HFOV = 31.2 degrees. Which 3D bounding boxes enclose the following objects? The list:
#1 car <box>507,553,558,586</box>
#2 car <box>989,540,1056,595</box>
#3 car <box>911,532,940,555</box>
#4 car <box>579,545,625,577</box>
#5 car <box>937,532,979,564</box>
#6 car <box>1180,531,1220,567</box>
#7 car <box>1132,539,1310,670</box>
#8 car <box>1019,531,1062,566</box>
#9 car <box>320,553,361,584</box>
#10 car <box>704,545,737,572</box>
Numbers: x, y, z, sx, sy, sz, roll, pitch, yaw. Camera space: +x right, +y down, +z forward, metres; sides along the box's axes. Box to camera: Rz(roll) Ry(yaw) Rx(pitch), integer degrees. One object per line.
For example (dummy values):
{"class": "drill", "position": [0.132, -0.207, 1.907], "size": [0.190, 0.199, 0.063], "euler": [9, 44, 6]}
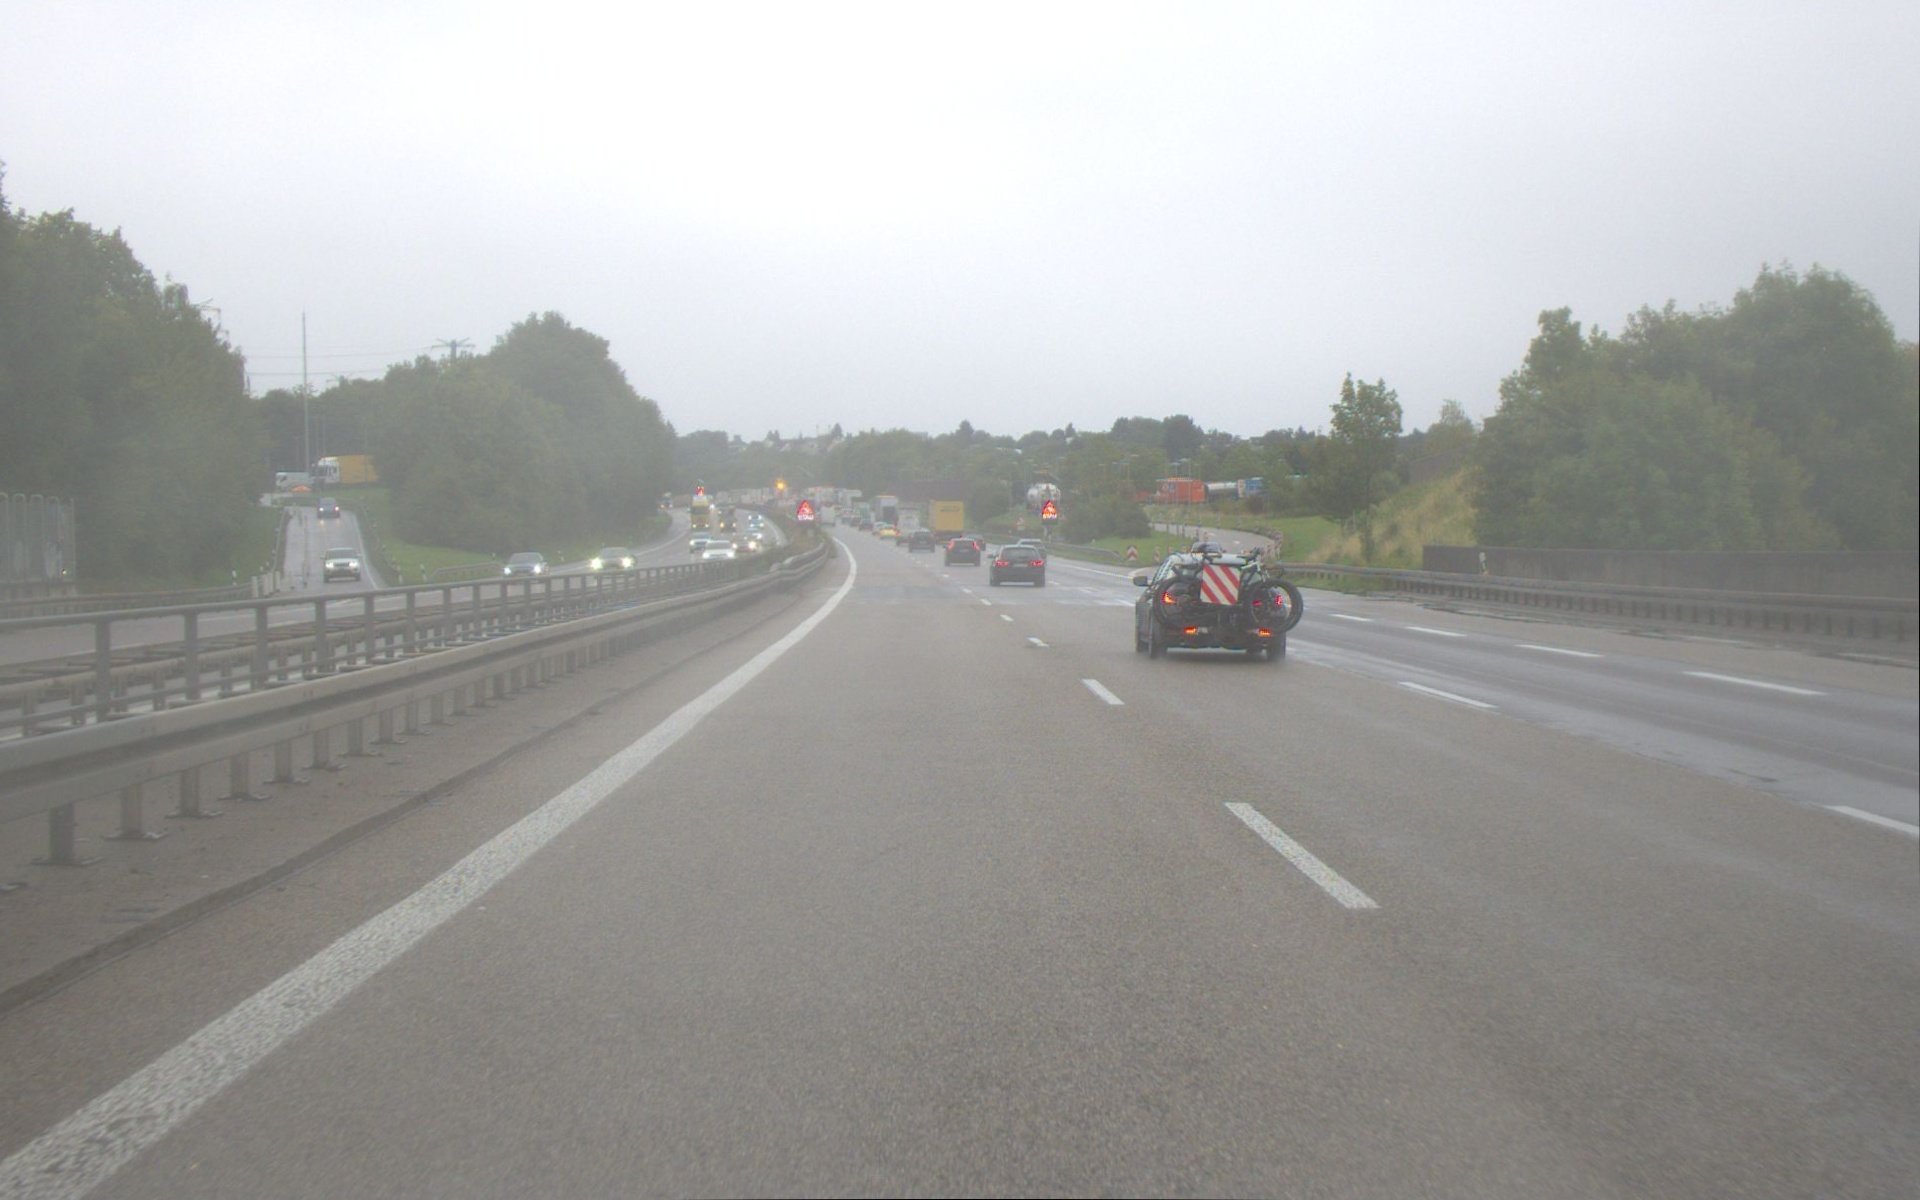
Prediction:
{"class": "car", "position": [-19.491, -1.401, 156.873], "size": [1.816, 1.384, 4.089], "euler": [-2, 1, -1]}
{"class": "car", "position": [2.143, -1.142, 118.415], "size": [1.993, 1.755, 4.001], "euler": [-2, 2, -3]}
{"class": "car", "position": [-2.581, -4.195, 255.108], "size": [1.993, 1.623, 4.001], "euler": [-2, 2, -3]}
{"class": "car", "position": [-17.221, -1.899, 165.450], "size": [1.816, 1.432, 4.089], "euler": [-2, 1, -1]}
{"class": "car", "position": [-0.104, -2.770, 182.650], "size": [1.993, 1.623, 4.001], "euler": [-2, 2, -3]}
{"class": "car", "position": [11.998, -2.569, 171.773], "size": [1.922, 1.703, 4.000], "euler": [-1, 1, 4]}
{"class": "car", "position": [3.498, 0.028, 47.008], "size": [2.058, 1.665, 5.522], "euler": [0, 1, 1]}
{"class": "car", "position": [4.307, -2.782, 184.567], "size": [1.993, 1.755, 4.001], "euler": [-2, 2, -3]}
{"class": "car", "position": [-33.885, -1.736, 188.054], "size": [1.993, 1.664, 4.001], "euler": [-1, 1, -13]}
{"class": "car", "position": [-13.637, -2.356, 195.888], "size": [1.656, 1.432, 4.089], "euler": [-2, 1, -1]}
